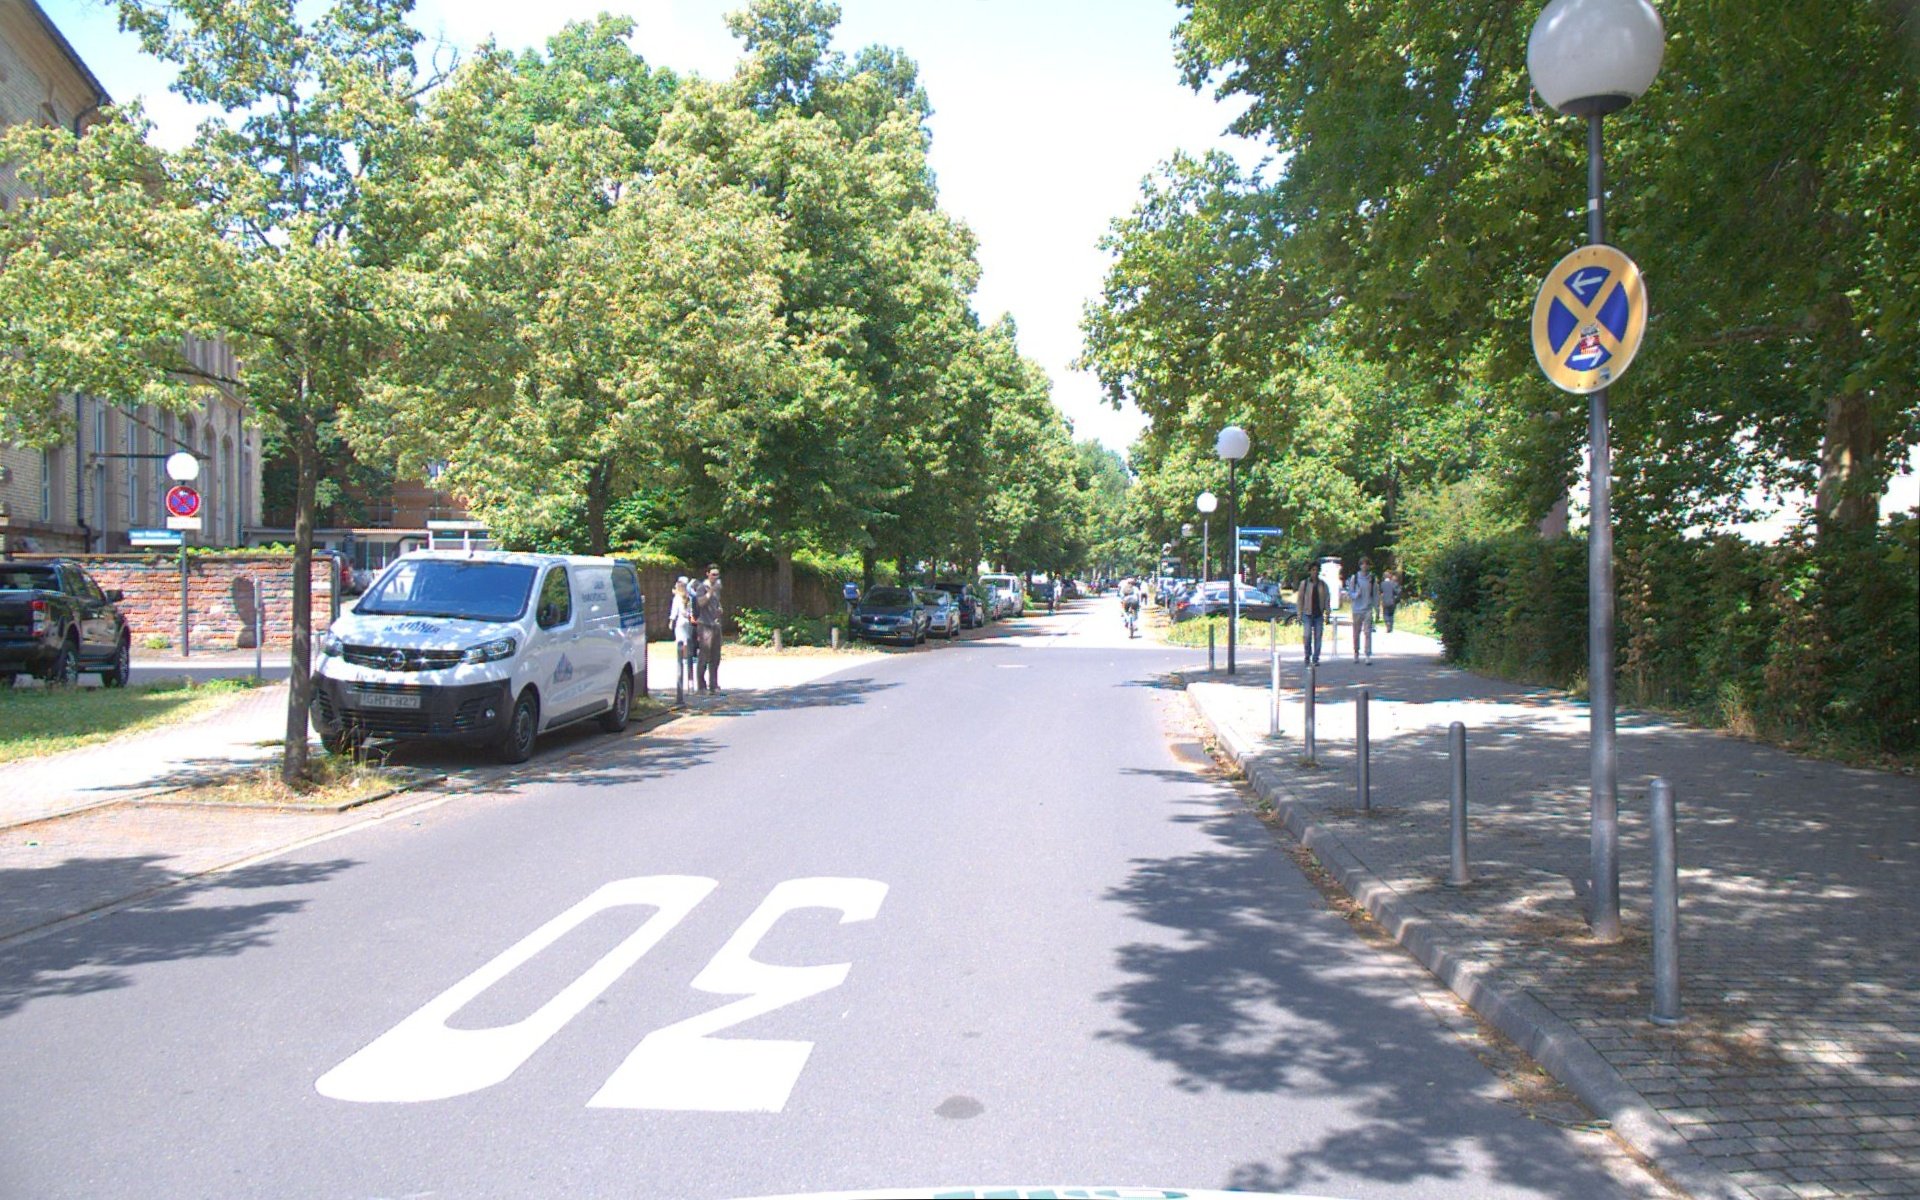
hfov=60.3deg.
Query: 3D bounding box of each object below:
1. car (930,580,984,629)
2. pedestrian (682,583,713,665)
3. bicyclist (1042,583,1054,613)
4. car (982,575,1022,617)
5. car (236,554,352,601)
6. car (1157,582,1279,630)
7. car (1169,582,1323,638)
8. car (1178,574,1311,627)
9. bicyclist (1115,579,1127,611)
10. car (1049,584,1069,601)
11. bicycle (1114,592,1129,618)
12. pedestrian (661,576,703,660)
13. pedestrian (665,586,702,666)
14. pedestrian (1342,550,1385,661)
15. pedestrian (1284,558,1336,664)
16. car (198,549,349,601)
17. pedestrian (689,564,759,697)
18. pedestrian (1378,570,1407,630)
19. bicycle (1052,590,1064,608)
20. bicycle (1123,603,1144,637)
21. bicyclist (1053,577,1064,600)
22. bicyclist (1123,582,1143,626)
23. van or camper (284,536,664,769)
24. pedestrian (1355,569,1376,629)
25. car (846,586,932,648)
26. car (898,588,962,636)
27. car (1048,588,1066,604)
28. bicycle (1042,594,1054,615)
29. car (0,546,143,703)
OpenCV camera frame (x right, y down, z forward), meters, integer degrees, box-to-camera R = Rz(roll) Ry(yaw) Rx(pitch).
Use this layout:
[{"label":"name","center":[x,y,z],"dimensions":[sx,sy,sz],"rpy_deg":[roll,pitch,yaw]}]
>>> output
[{"label":"car","center":[-0.077,0.142,59.653],"dimensions":[1.581,1.708,4.003],"rpy_deg":[0,0,5]},{"label":"pedestrian","center":[-5.256,0.477,33.120],"dimensions":[0.488,1.613,0.489],"rpy_deg":[0,0,-29]},{"label":"bicyclist","center":[4.377,-0.103,82.115],"dimensions":[0.551,1.524,0.828],"rpy_deg":[0,0,5]},{"label":"car","center":[1.934,-0.194,74.856],"dimensions":[1.581,1.847,4.003],"rpy_deg":[0,0,5]},{"label":"car","center":[-23.956,-0.792,59.657],"dimensions":[3.797,1.650,1.746],"rpy_deg":[0,0,-20]},{"label":"car","center":[9.174,0.201,59.071],"dimensions":[4.166,1.616,1.812],"rpy_deg":[-1,0,6]},{"label":"car","center":[8.477,0.285,49.299],"dimensions":[4.390,1.552,1.812],"rpy_deg":[-1,0,6]},{"label":"car","center":[9.282,0.020,54.151],"dimensions":[4.166,1.616,1.812],"rpy_deg":[-1,0,6]},{"label":"bicyclist","center":[6.577,-0.212,67.612],"dimensions":[0.511,1.318,0.611],"rpy_deg":[0,0,5]},{"label":"car","center":[7.972,-0.621,132.878],"dimensions":[1.582,1.388,4.564],"rpy_deg":[0,0,4]},{"label":"bicycle","center":[6.594,0.201,67.682],"dimensions":[0.601,1.018,1.424],"rpy_deg":[0,1,5]},{"label":"pedestrian","center":[-5.644,0.356,33.624],"dimensions":[0.624,1.692,0.593],"rpy_deg":[0,0,-44]},{"label":"pedestrian","center":[-5.411,0.503,32.360],"dimensions":[0.579,1.553,0.488],"rpy_deg":[0,0,-35]},{"label":"pedestrian","center":[7.068,0.094,28.982],"dimensions":[0.657,1.905,0.793],"rpy_deg":[0,0,8]},{"label":"pedestrian","center":[6.132,0.187,28.991],"dimensions":[0.803,1.786,0.841],"rpy_deg":[-3,0,13]},{"label":"car","center":[-20.956,-0.754,50.534],"dimensions":[4.051,1.543,1.736],"rpy_deg":[0,0,-33]},{"label":"pedestrian","center":[-3.445,0.433,24.149],"dimensions":[0.709,1.889,0.791],"rpy_deg":[0,0,22]},{"label":"pedestrian","center":[12.975,-0.008,49.652],"dimensions":[0.803,1.786,0.629],"rpy_deg":[0,0,11]},{"label":"bicycle","center":[5.463,-0.047,92.046],"dimensions":[0.601,1.018,1.424],"rpy_deg":[0,0,5]},{"label":"bicycle","center":[5.238,0.599,49.928],"dimensions":[0.601,1.018,1.424],"rpy_deg":[0,0,5]},{"label":"bicyclist","center":[5.470,-0.646,92.091],"dimensions":[0.595,1.318,0.611],"rpy_deg":[0,0,5]},{"label":"bicyclist","center":[5.232,0.126,49.940],"dimensions":[0.596,1.318,0.611],"rpy_deg":[0,0,5]},{"label":"van or camper","center":[-4.659,0.423,16.888],"dimensions":[1.912,1.956,5.423],"rpy_deg":[1,1,4]},{"label":"pedestrian","center":[12.234,-0.031,49.904],"dimensions":[0.588,1.786,0.629],"rpy_deg":[0,0,12]},{"label":"car","center":[-1.810,0.403,43.308],"dimensions":[1.722,1.548,4.114],"rpy_deg":[0,0,5]},{"label":"car","center":[-0.885,0.347,50.998],"dimensions":[1.581,1.412,4.003],"rpy_deg":[0,0,5]},{"label":"car","center":[8.567,-0.360,146.023],"dimensions":[1.582,1.388,4.002],"rpy_deg":[0,0,4]},{"label":"bicycle","center":[4.377,0.209,82.065],"dimensions":[0.565,1.018,1.424],"rpy_deg":[0,0,5]},{"label":"car","center":[-12.947,0.284,22.935],"dimensions":[2.141,1.959,5.160],"rpy_deg":[0,0,-18]}]
